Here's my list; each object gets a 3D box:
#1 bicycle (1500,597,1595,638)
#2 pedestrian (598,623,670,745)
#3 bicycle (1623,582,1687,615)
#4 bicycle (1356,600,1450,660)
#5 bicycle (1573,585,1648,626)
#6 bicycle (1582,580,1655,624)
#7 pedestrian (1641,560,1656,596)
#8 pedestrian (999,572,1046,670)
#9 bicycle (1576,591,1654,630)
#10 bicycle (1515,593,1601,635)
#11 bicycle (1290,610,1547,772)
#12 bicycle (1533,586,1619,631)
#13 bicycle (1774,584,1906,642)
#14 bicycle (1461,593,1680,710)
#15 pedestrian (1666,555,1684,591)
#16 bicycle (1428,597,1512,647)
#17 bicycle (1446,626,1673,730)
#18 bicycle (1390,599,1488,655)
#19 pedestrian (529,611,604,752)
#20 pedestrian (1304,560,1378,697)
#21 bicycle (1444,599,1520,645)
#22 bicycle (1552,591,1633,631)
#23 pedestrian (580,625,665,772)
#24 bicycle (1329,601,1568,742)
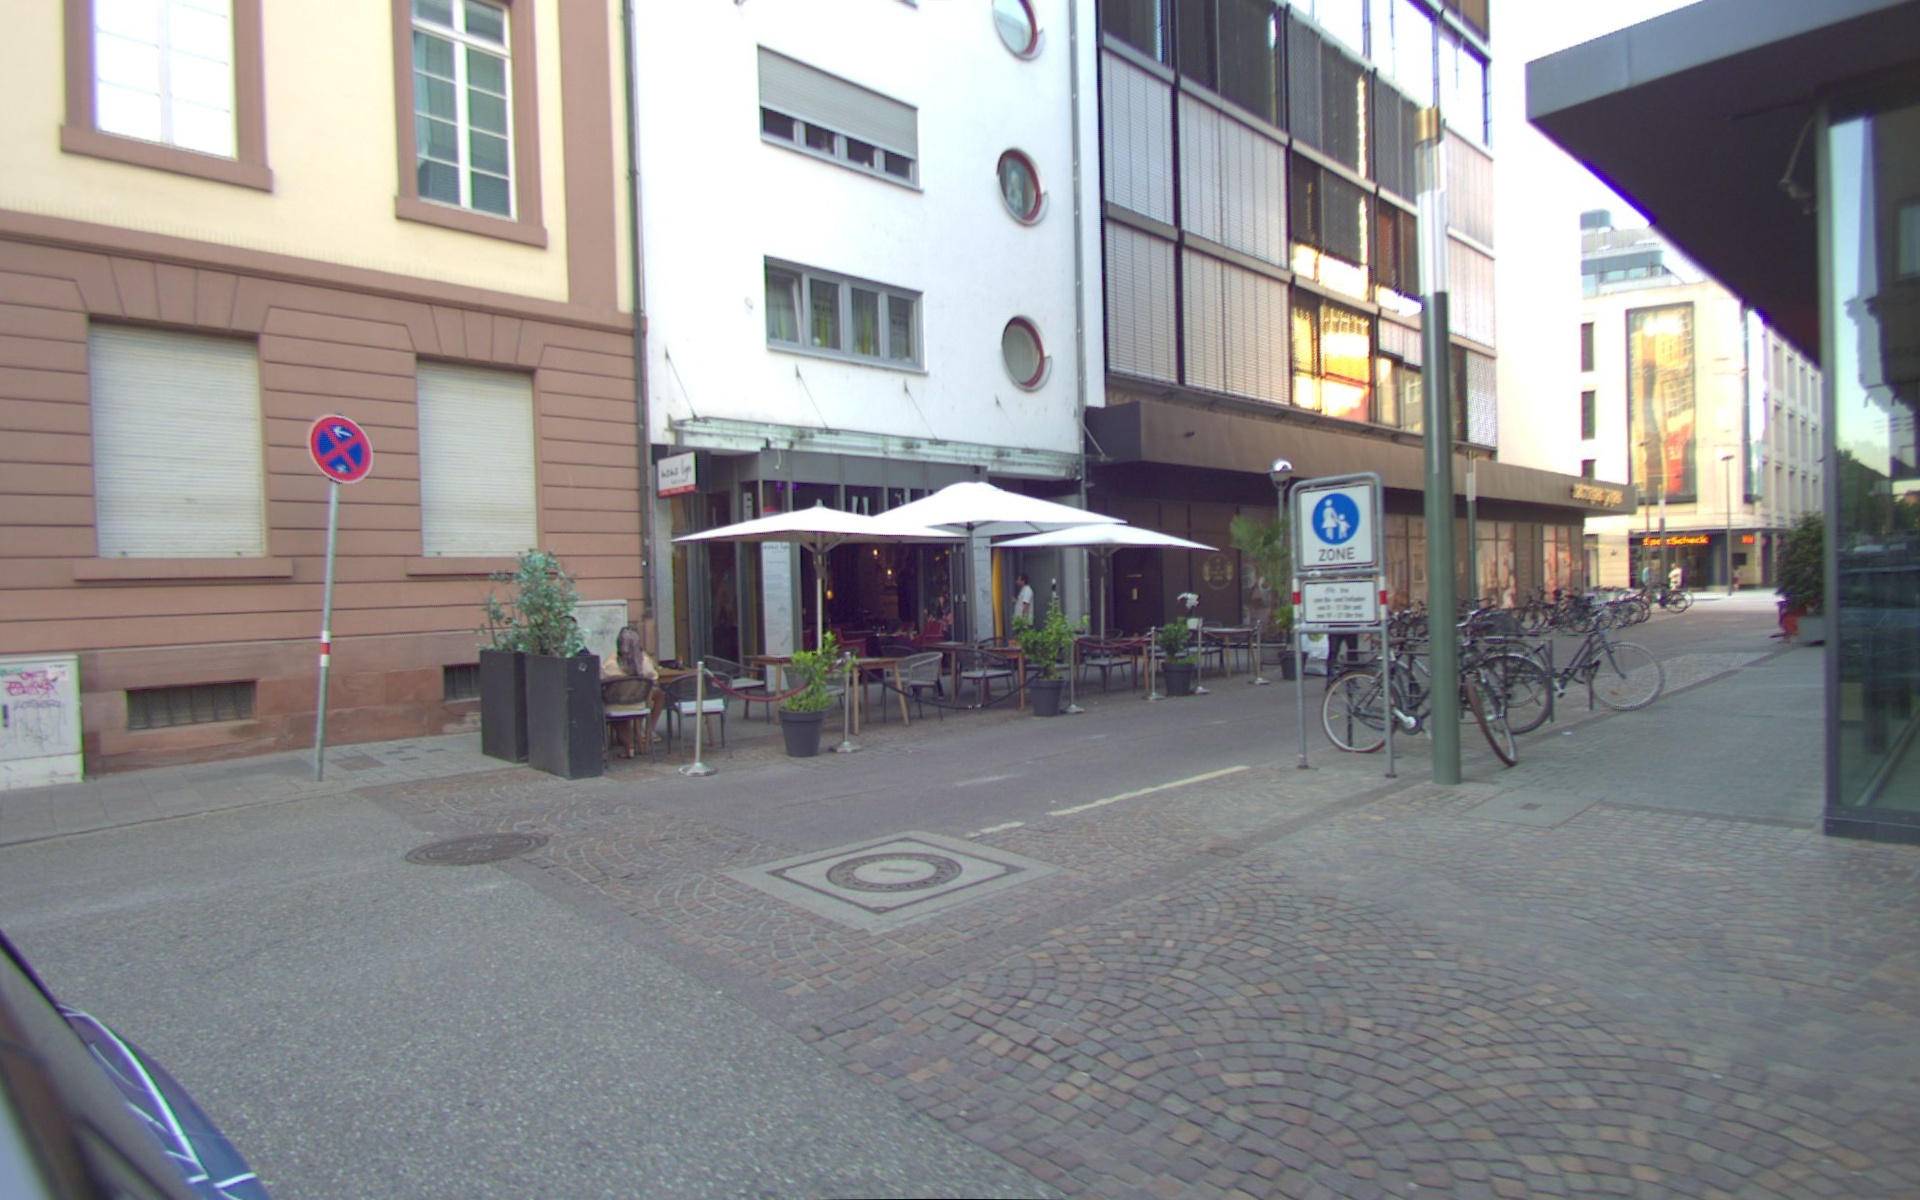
[{"bbox_3d":[14.378,0.439,24.814,0.459,0.964,1.947,-2,0,-44],"label":"bicycle"},{"bbox_3d":[-3.467,0.869,10.752,0.541,1.220,0.525,-2,0,-41],"label":"pedestrian"},{"bbox_3d":[23.535,-0.046,34.298,0.430,1.069,1.735,-2,0,-44],"label":"bicycle"},{"bbox_3d":[8.501,0.559,19.462,0.540,1.093,1.544,-2,0,-44],"label":"bicycle"},{"bbox_3d":[18.851,0.169,29.350,0.459,1.154,1.735,-2,0,-44],"label":"bicycle"},{"bbox_3d":[19.498,0.069,29.978,0.459,1.238,1.735,-2,0,-44],"label":"bicycle"},{"bbox_3d":[30.505,-0.959,44.860,0.477,1.564,0.430,-2,0,31],"label":"pedestrian"},{"bbox_3d":[1.097,0.362,17.754,0.620,1.678,0.666,-2,0,20],"label":"pedestrian"},{"bbox_3d":[18.196,0.298,28.146,0.459,1.059,1.735,-2,0,-44],"label":"bicycle"},{"bbox_3d":[15.176,0.365,25.712,0.523,1.016,1.797,-2,0,-44],"label":"bicycle"},{"bbox_3d":[3.586,0.681,8.019,0.699,1.121,1.675,-2,-1,-44],"label":"bicycle"},{"bbox_3d":[16.227,0.240,26.699,0.459,1.144,1.850,-2,0,-44],"label":"bicycle"},{"bbox_3d":[16.344,0.260,18.824,0.362,1.022,1.795,-2,-1,-44],"label":"bicycle"},{"bbox_3d":[6.562,0.546,10.968,0.549,1.153,1.913,-2,-1,-44],"label":"bicycle"},{"bbox_3d":[31.551,-1.179,44.651,0.470,1.584,0.380,-2,0,-4],"label":"pedestrian"},{"bbox_3d":[11.124,0.483,22.123,0.459,1.044,1.557,-2,0,-44],"label":"bicycle"},{"bbox_3d":[5.719,0.728,9.751,0.447,0.902,1.795,-2,-1,-44],"label":"bicycle"},{"bbox_3d":[9.870,0.550,20.908,0.540,1.100,1.729,-2,0,-44],"label":"bicycle"},{"bbox_3d":[-3.976,0.800,10.230,0.541,1.359,0.489,-2,0,-41],"label":"pedestrian"},{"bbox_3d":[5.242,0.372,13.889,0.738,1.798,0.958,-2,0,32],"label":"pedestrian"},{"bbox_3d":[11.915,0.503,23.140,0.459,1.013,1.457,-2,0,-44],"label":"bicycle"},{"bbox_3d":[17.191,0.296,27.535,0.459,1.059,1.779,-2,0,-44],"label":"bicycle"},{"bbox_3d":[-2.985,0.843,8.949,0.553,1.221,0.462,-2,0,-41],"label":"pedestrian"},{"bbox_3d":[4.441,0.630,9.316,0.601,1.159,1.843,-2,-1,-44],"label":"bicycle"}]
